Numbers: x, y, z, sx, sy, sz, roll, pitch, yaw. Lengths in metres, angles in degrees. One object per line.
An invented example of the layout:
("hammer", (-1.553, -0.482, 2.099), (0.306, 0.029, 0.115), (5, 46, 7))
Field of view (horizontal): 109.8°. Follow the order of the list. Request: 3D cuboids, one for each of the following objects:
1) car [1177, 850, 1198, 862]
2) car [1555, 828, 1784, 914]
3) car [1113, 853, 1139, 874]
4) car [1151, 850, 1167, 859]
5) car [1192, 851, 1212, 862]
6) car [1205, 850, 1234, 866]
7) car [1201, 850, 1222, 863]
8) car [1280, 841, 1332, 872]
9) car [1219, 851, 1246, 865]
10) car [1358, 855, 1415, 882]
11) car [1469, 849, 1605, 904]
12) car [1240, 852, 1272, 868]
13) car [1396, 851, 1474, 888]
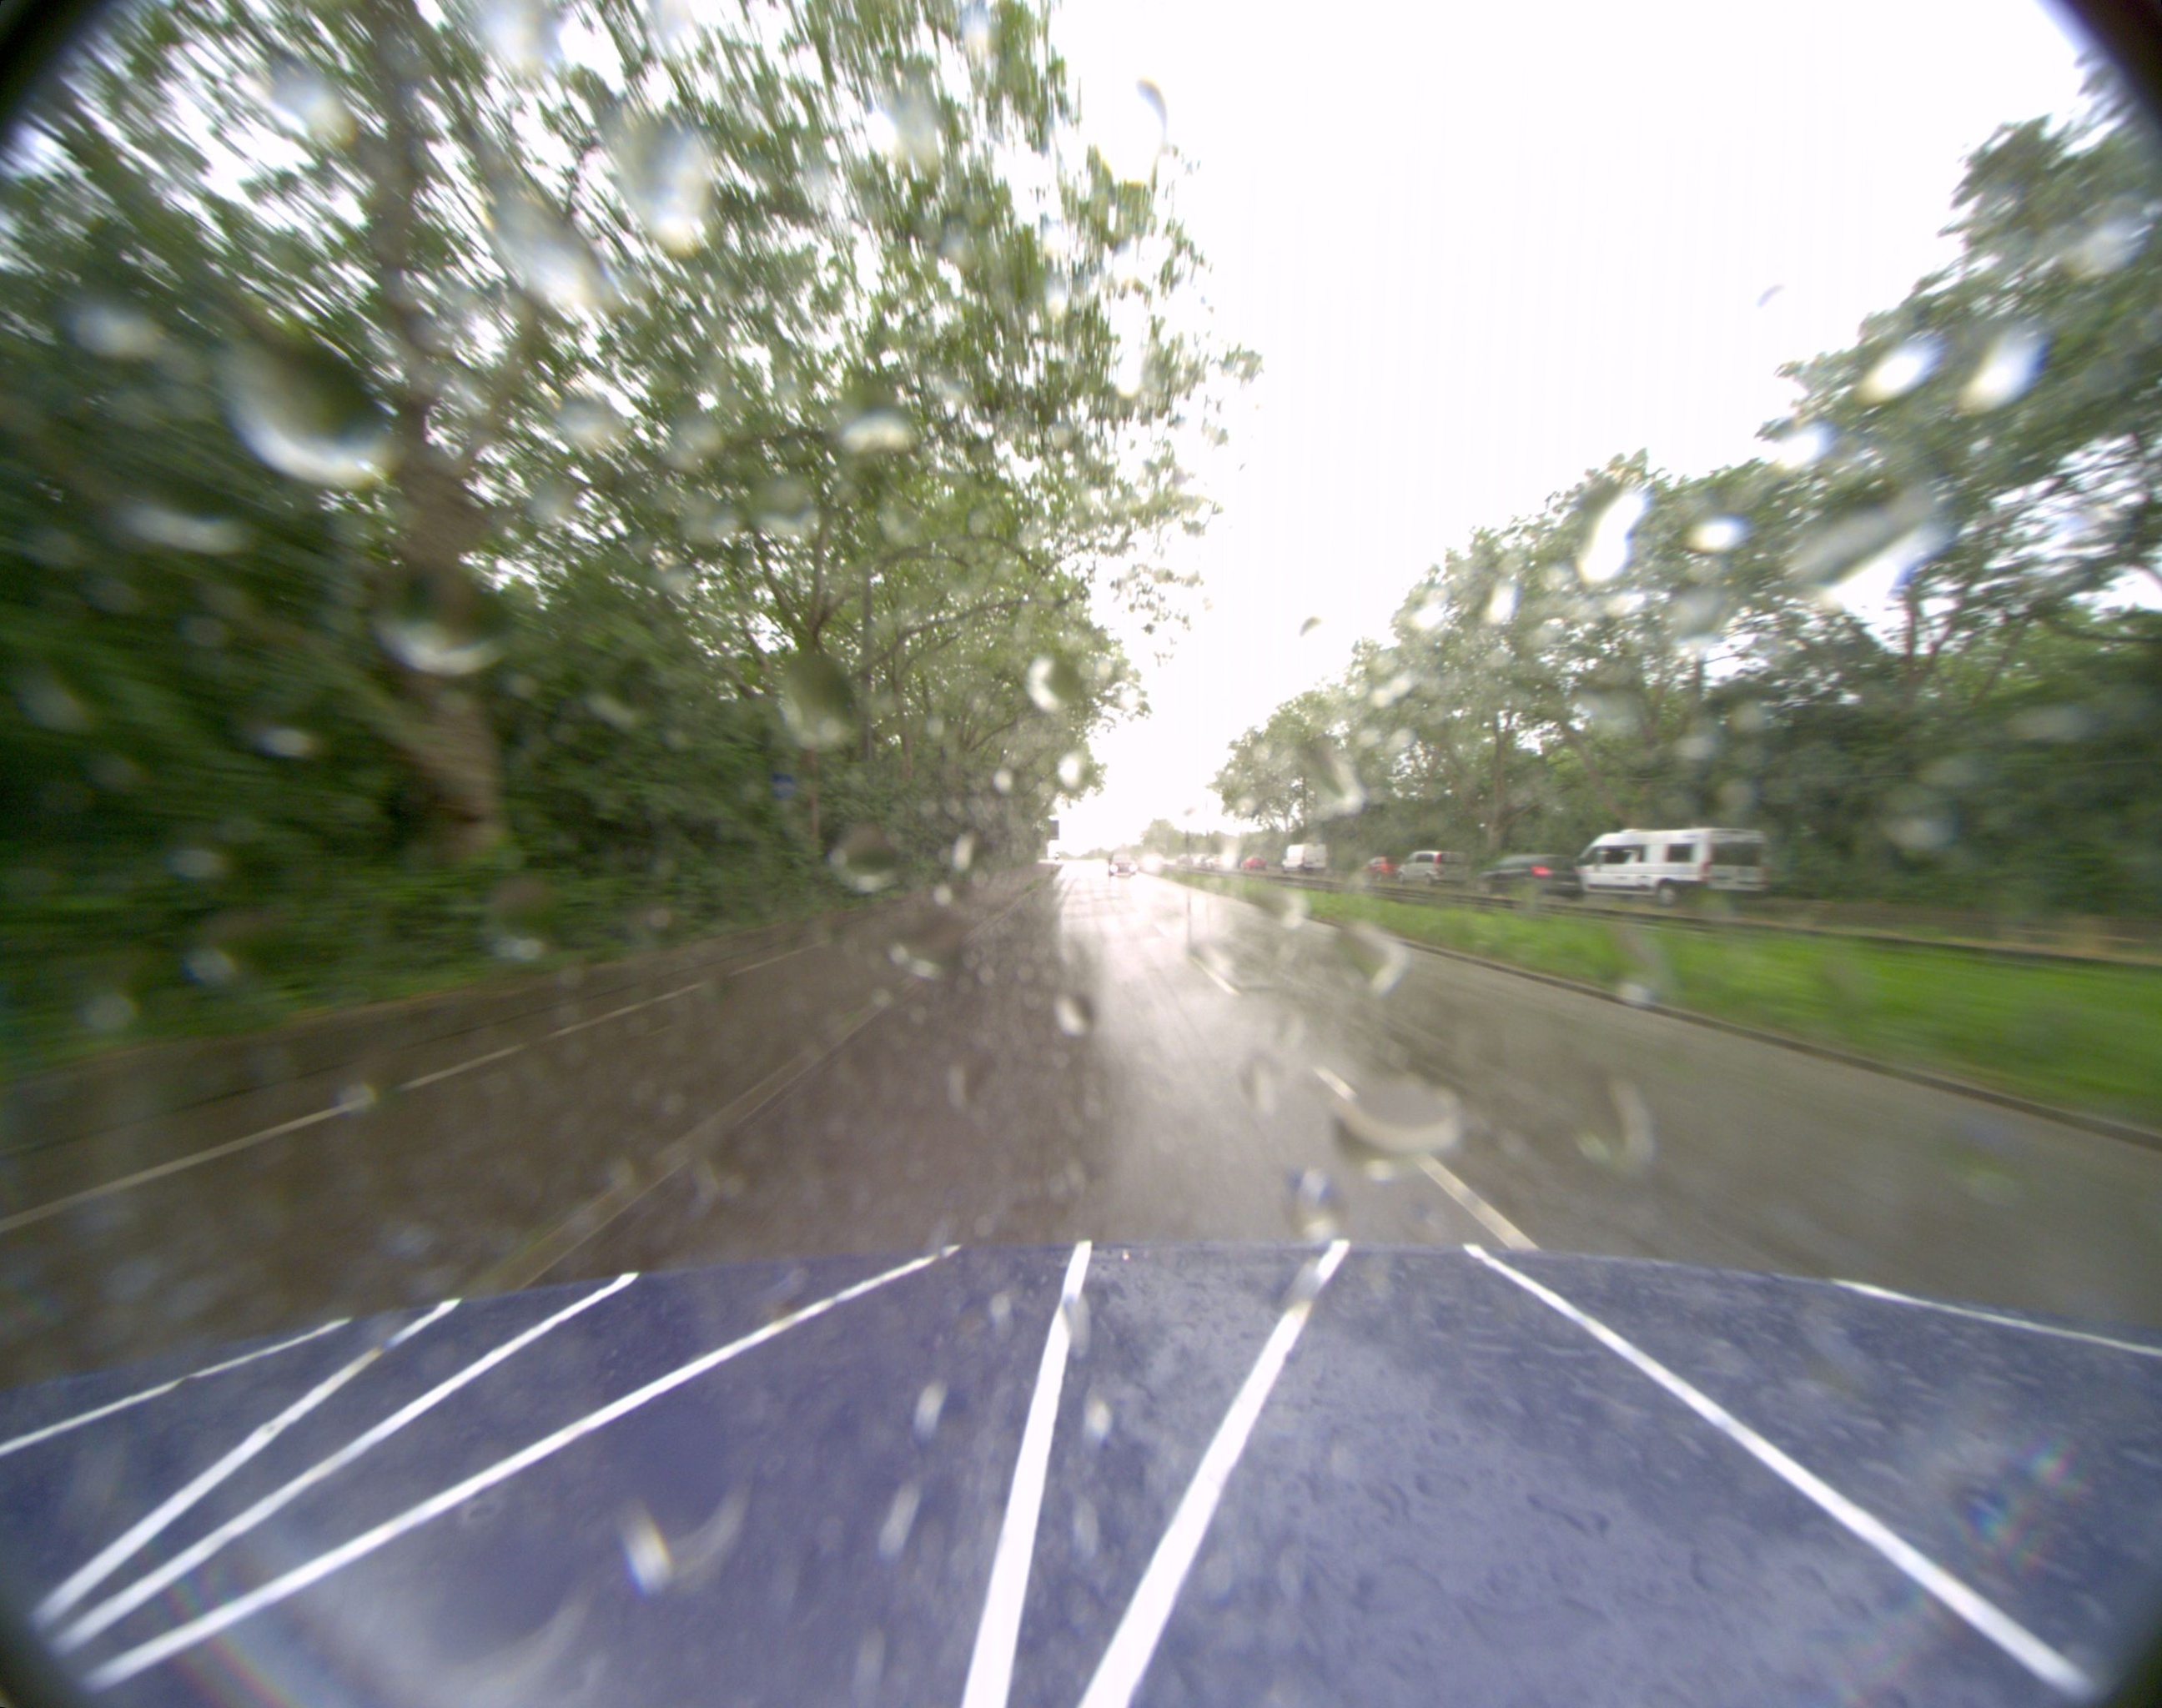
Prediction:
("car", (14.053, 0.265, 100.107), (2.038, 1.543, 4.565), (0, 0, -1))
("car", (19.578, 0.483, 25.903), (2.396, 2.526, 6.564), (1, 1, -3))
("car", (3.321, 0.686, 57.106), (1.726, 1.425, 3.851), (0, 0, 0))
("car", (13.368, 0.082, 130.557), (2.039, 1.543, 4.995), (1, 0, -3))
("car", (17.221, 0.333, 107.943), (1.891, 1.502, 4.577), (1, 0, -3))
("car", (14.707, 0.418, 80.947), (1.984, 1.558, 4.767), (1, 0, -3))
("car", (17.355, 0.283, 101.443), (1.891, 1.641, 4.368), (1, 1, -2))
("car", (18.605, 0.142, 63.177), (2.336, 2.432, 6.137), (1, 1, -2))
("car", (17.878, 0.463, 89.923), (2.039, 1.543, 4.383), (1, 0, -3))
("car", (18.979, 0.883, 47.442), (1.823, 1.543, 4.023), (1, 1, -1))
("car", (15.870, 0.729, 26.730), (2.037, 1.741, 4.258), (1, 1, -3))
("car", (18.071, 0.585, 78.776), (2.039, 1.543, 4.383), (1, 0, -3))
("car", (19.190, 0.779, 41.487), (1.962, 1.851, 4.639), (1, 1, -1))
